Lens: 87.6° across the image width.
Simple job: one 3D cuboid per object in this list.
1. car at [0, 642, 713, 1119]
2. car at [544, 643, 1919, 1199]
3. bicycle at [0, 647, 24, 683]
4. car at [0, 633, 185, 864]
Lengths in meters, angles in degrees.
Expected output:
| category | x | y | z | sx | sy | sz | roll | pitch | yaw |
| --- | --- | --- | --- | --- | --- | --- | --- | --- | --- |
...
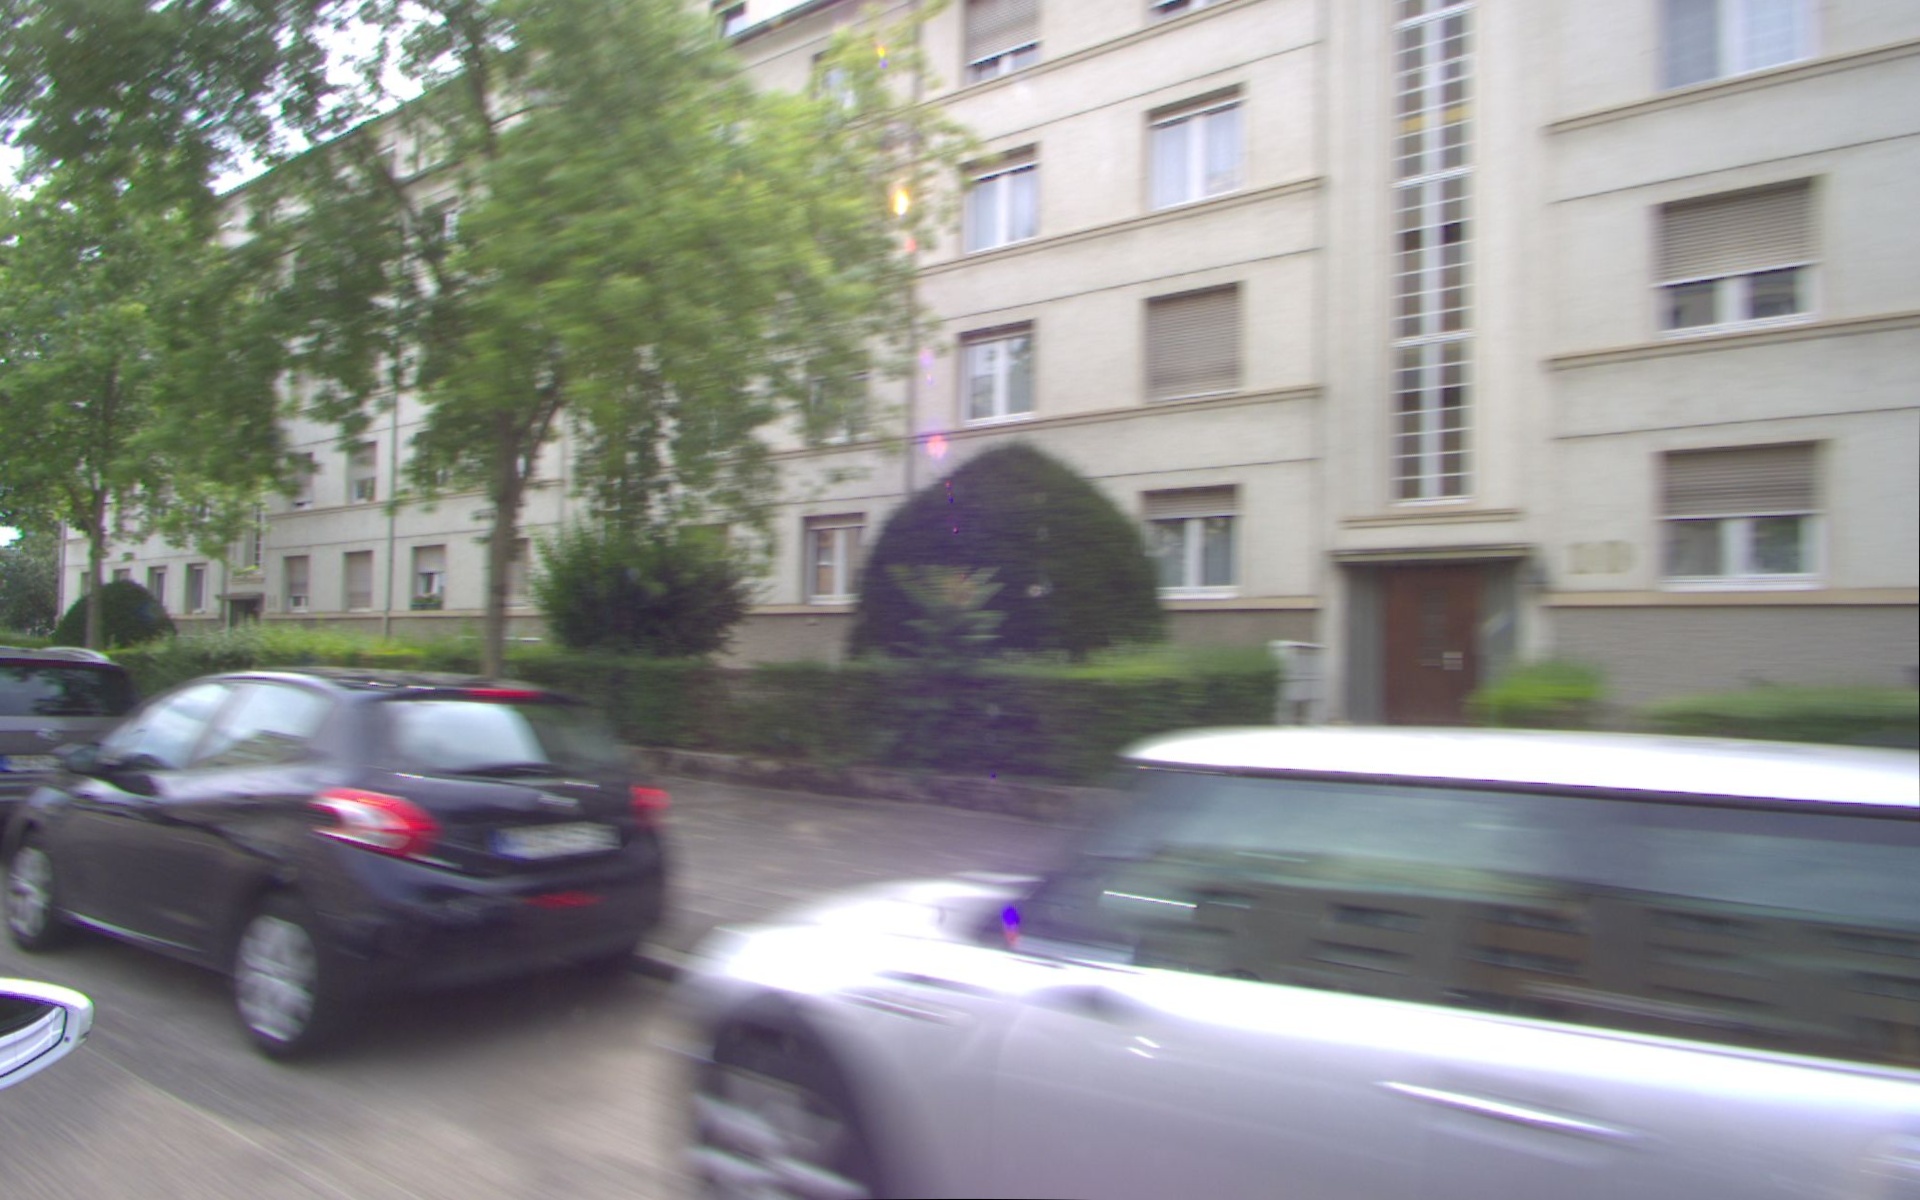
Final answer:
| category | x | y | z | sx | sy | sz | roll | pitch | yaw |
| --- | --- | --- | --- | --- | --- | --- | --- | --- | --- |
| car | -3.266 | 1.026 | 5.090 | 3.832 | 1.488 | 1.657 | 1 | -2 | 32 |
| car | 0.875 | 0.921 | 2.490 | 3.671 | 1.488 | 1.657 | 1 | -2 | 32 |
| bicycle | -24.874 | 1.656 | 25.530 | 0.505 | 0.928 | 1.387 | 1 | -2 | 20 |
| car | -8.403 | 1.074 | 8.238 | 4.222 | 1.601 | 1.659 | -1 | -5 | 30 |
